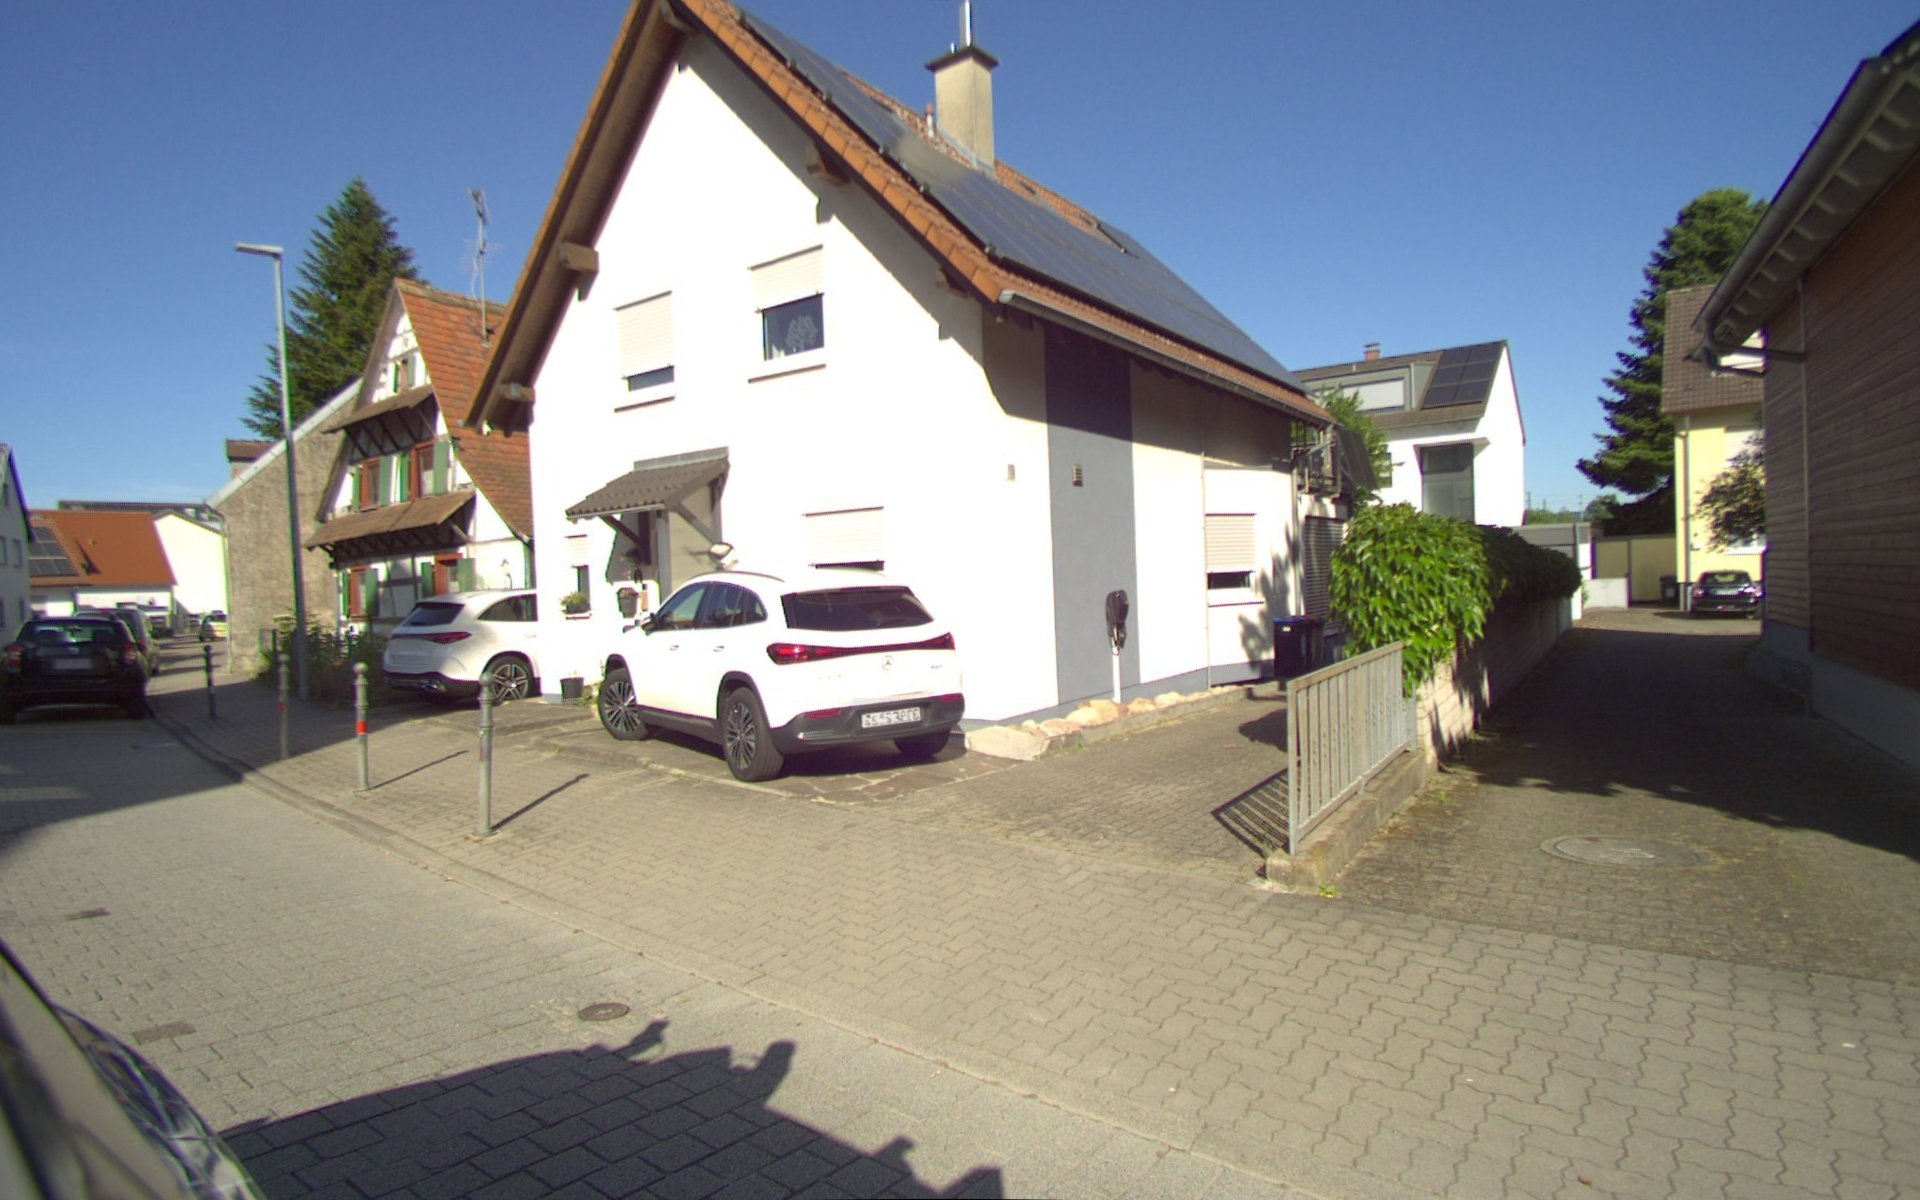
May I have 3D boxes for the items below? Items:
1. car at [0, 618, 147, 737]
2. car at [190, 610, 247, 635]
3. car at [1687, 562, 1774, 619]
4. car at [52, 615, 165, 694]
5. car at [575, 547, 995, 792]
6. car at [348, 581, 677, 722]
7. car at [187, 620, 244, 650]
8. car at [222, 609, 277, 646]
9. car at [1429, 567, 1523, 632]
[{"bbox_3d":[-14.625,1.169,16.583,1.810,1.684,4.358,1,-2,-41],"label":"car"},{"bbox_3d":[-67.071,2.003,91.616,3.932,2.029,1.847,-2,0,-31],"label":"car"},{"bbox_3d":[22.708,-0.317,29.944,1.927,1.525,3.779,-1,2,36],"label":"car"},{"bbox_3d":[-21.391,1.314,25.579,1.808,1.803,4.363,1,-2,-35],"label":"car"},{"bbox_3d":[-1.832,0.462,9.159,1.794,1.607,4.455,-4,2,-38],"label":"car"},{"bbox_3d":[-6.473,0.660,15.044,1.995,1.600,3.955,-3,2,34],"label":"car"},{"bbox_3d":[-43.108,2.003,58.679,1.862,1.602,4.013,-1,0,-25],"label":"car"},{"bbox_3d":[-45.278,1.726,64.571,2.026,2.263,4.875,-1,0,-25],"label":"car"},{"bbox_3d":[15.437,-0.052,30.184,1.799,1.636,3.951,-3,1,37],"label":"car"}]
